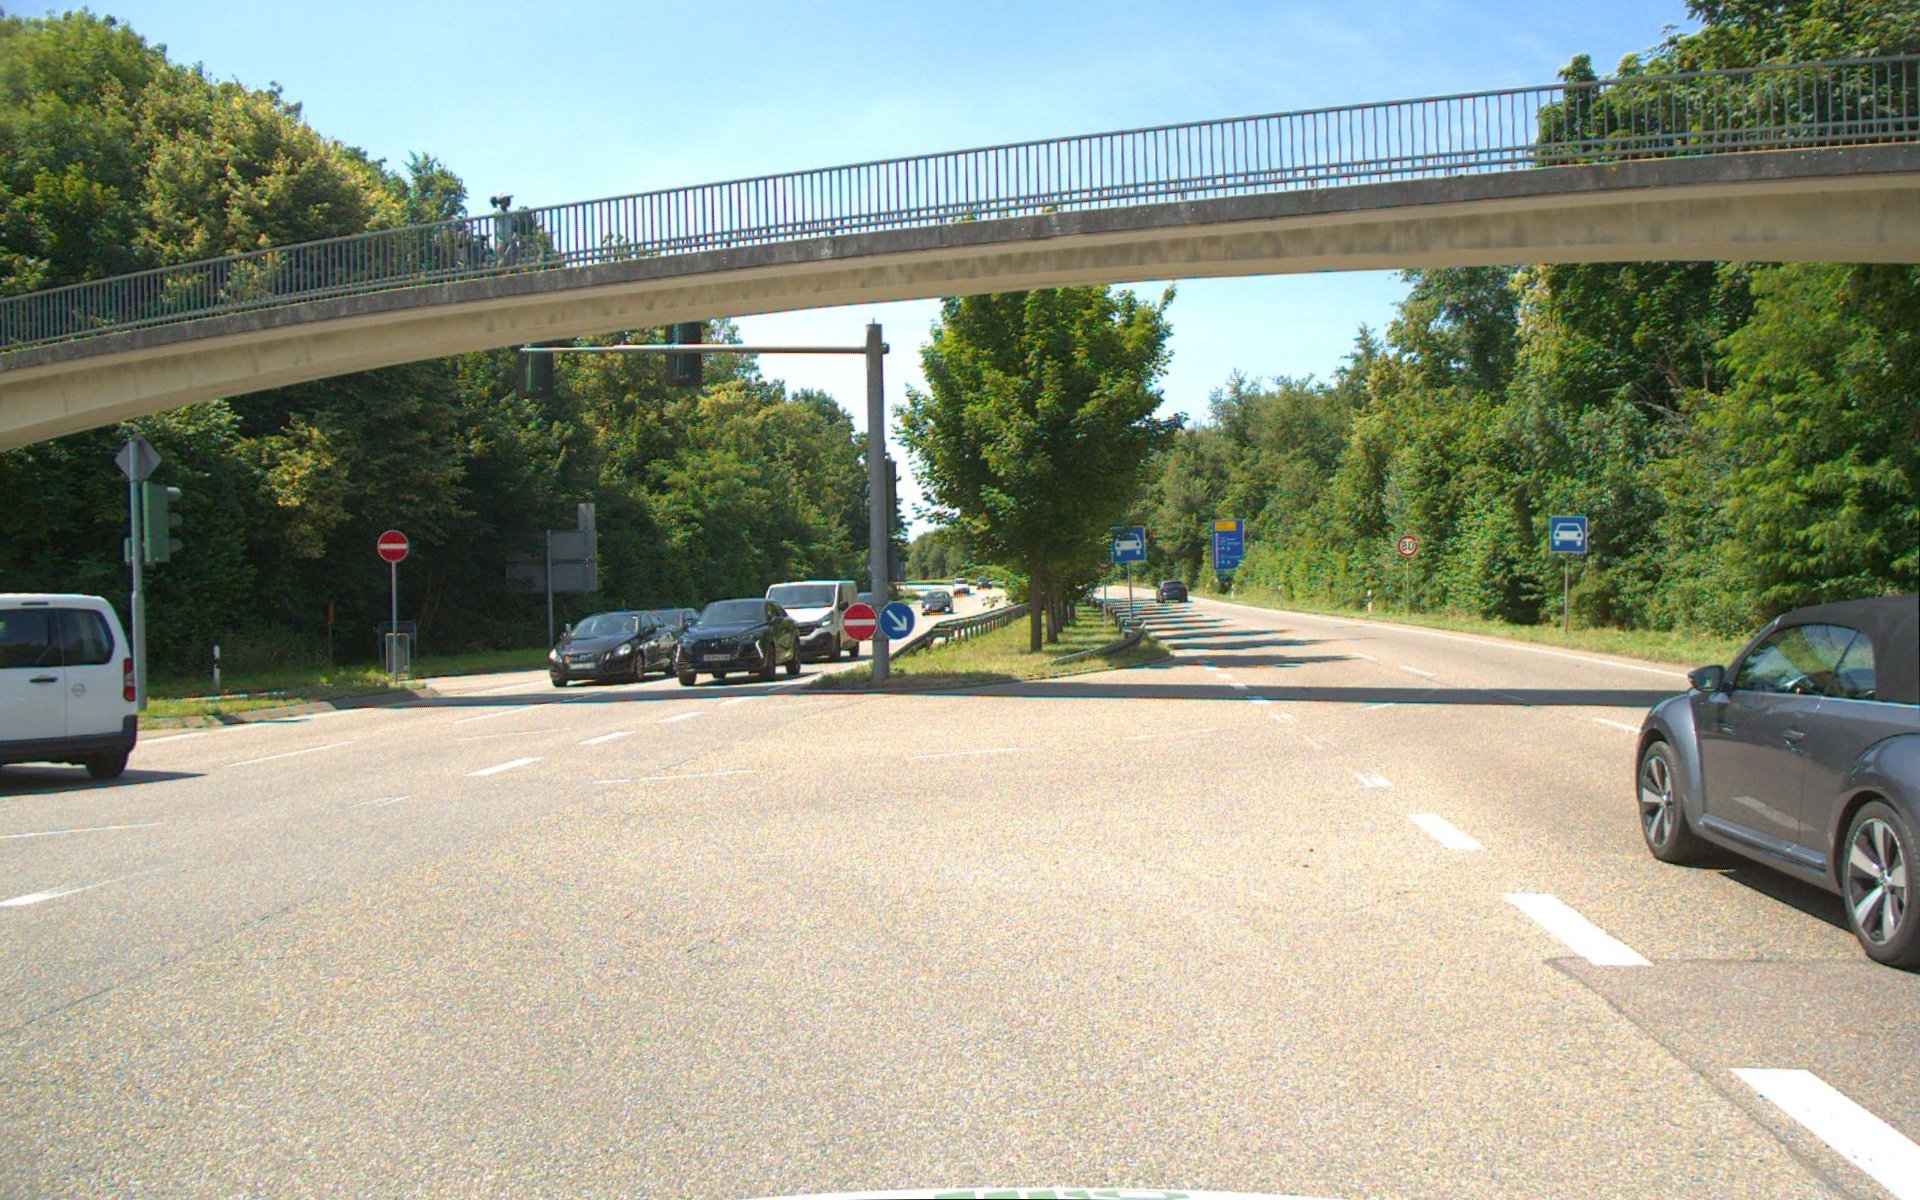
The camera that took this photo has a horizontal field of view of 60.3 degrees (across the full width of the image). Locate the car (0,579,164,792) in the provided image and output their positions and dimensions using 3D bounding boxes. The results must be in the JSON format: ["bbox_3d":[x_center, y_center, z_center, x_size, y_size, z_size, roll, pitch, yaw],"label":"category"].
[{"bbox_3d":[-9.751,0.874,16.304,3.904,1.857,1.847,-4,-1,38],"label":"car"}]

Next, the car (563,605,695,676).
[{"bbox_3d":[-7.805,0.919,39.395,1.966,1.486,4.058,-3,0,5],"label":"car"}]

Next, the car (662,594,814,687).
[{"bbox_3d":[-4.141,0.716,31.506,1.951,1.550,4.030,-3,0,5],"label":"car"}]

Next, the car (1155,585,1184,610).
[{"bbox_3d":[15.414,-0.201,121.544,1.998,1.728,5.090,-1,1,8],"label":"car"}]

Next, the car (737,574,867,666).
[{"bbox_3d":[-3.797,0.460,40.848,2.162,2.028,5.492,-3,0,5],"label":"car"}]

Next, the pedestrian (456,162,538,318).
[{"bbox_3d":[-7.274,-5.629,25.997,0.766,2.177,0.931,-3,-2,21],"label":"pedestrian"}]

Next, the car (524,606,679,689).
[{"bbox_3d":[-7.350,0.936,34.293,1.966,1.486,4.058,-3,0,5],"label":"car"}]

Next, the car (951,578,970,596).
[{"bbox_3d":[0.074,-1.471,189.620,1.953,1.780,3.999,-4,0,-1],"label":"car"}]

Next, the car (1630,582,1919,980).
[{"bbox_3d":[4.690,0.676,7.669,1.860,1.503,3.941,0,0,5],"label":"car"}]

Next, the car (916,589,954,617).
[{"bbox_3d":[-1.608,0.176,106.378,1.966,1.629,4.058,-3,0,5],"label":"car"}]

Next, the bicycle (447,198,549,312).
[{"bbox_3d":[-7.182,-5.345,25.708,1.495,1.500,0.469,-3,-2,21],"label":"bicycle"}]
